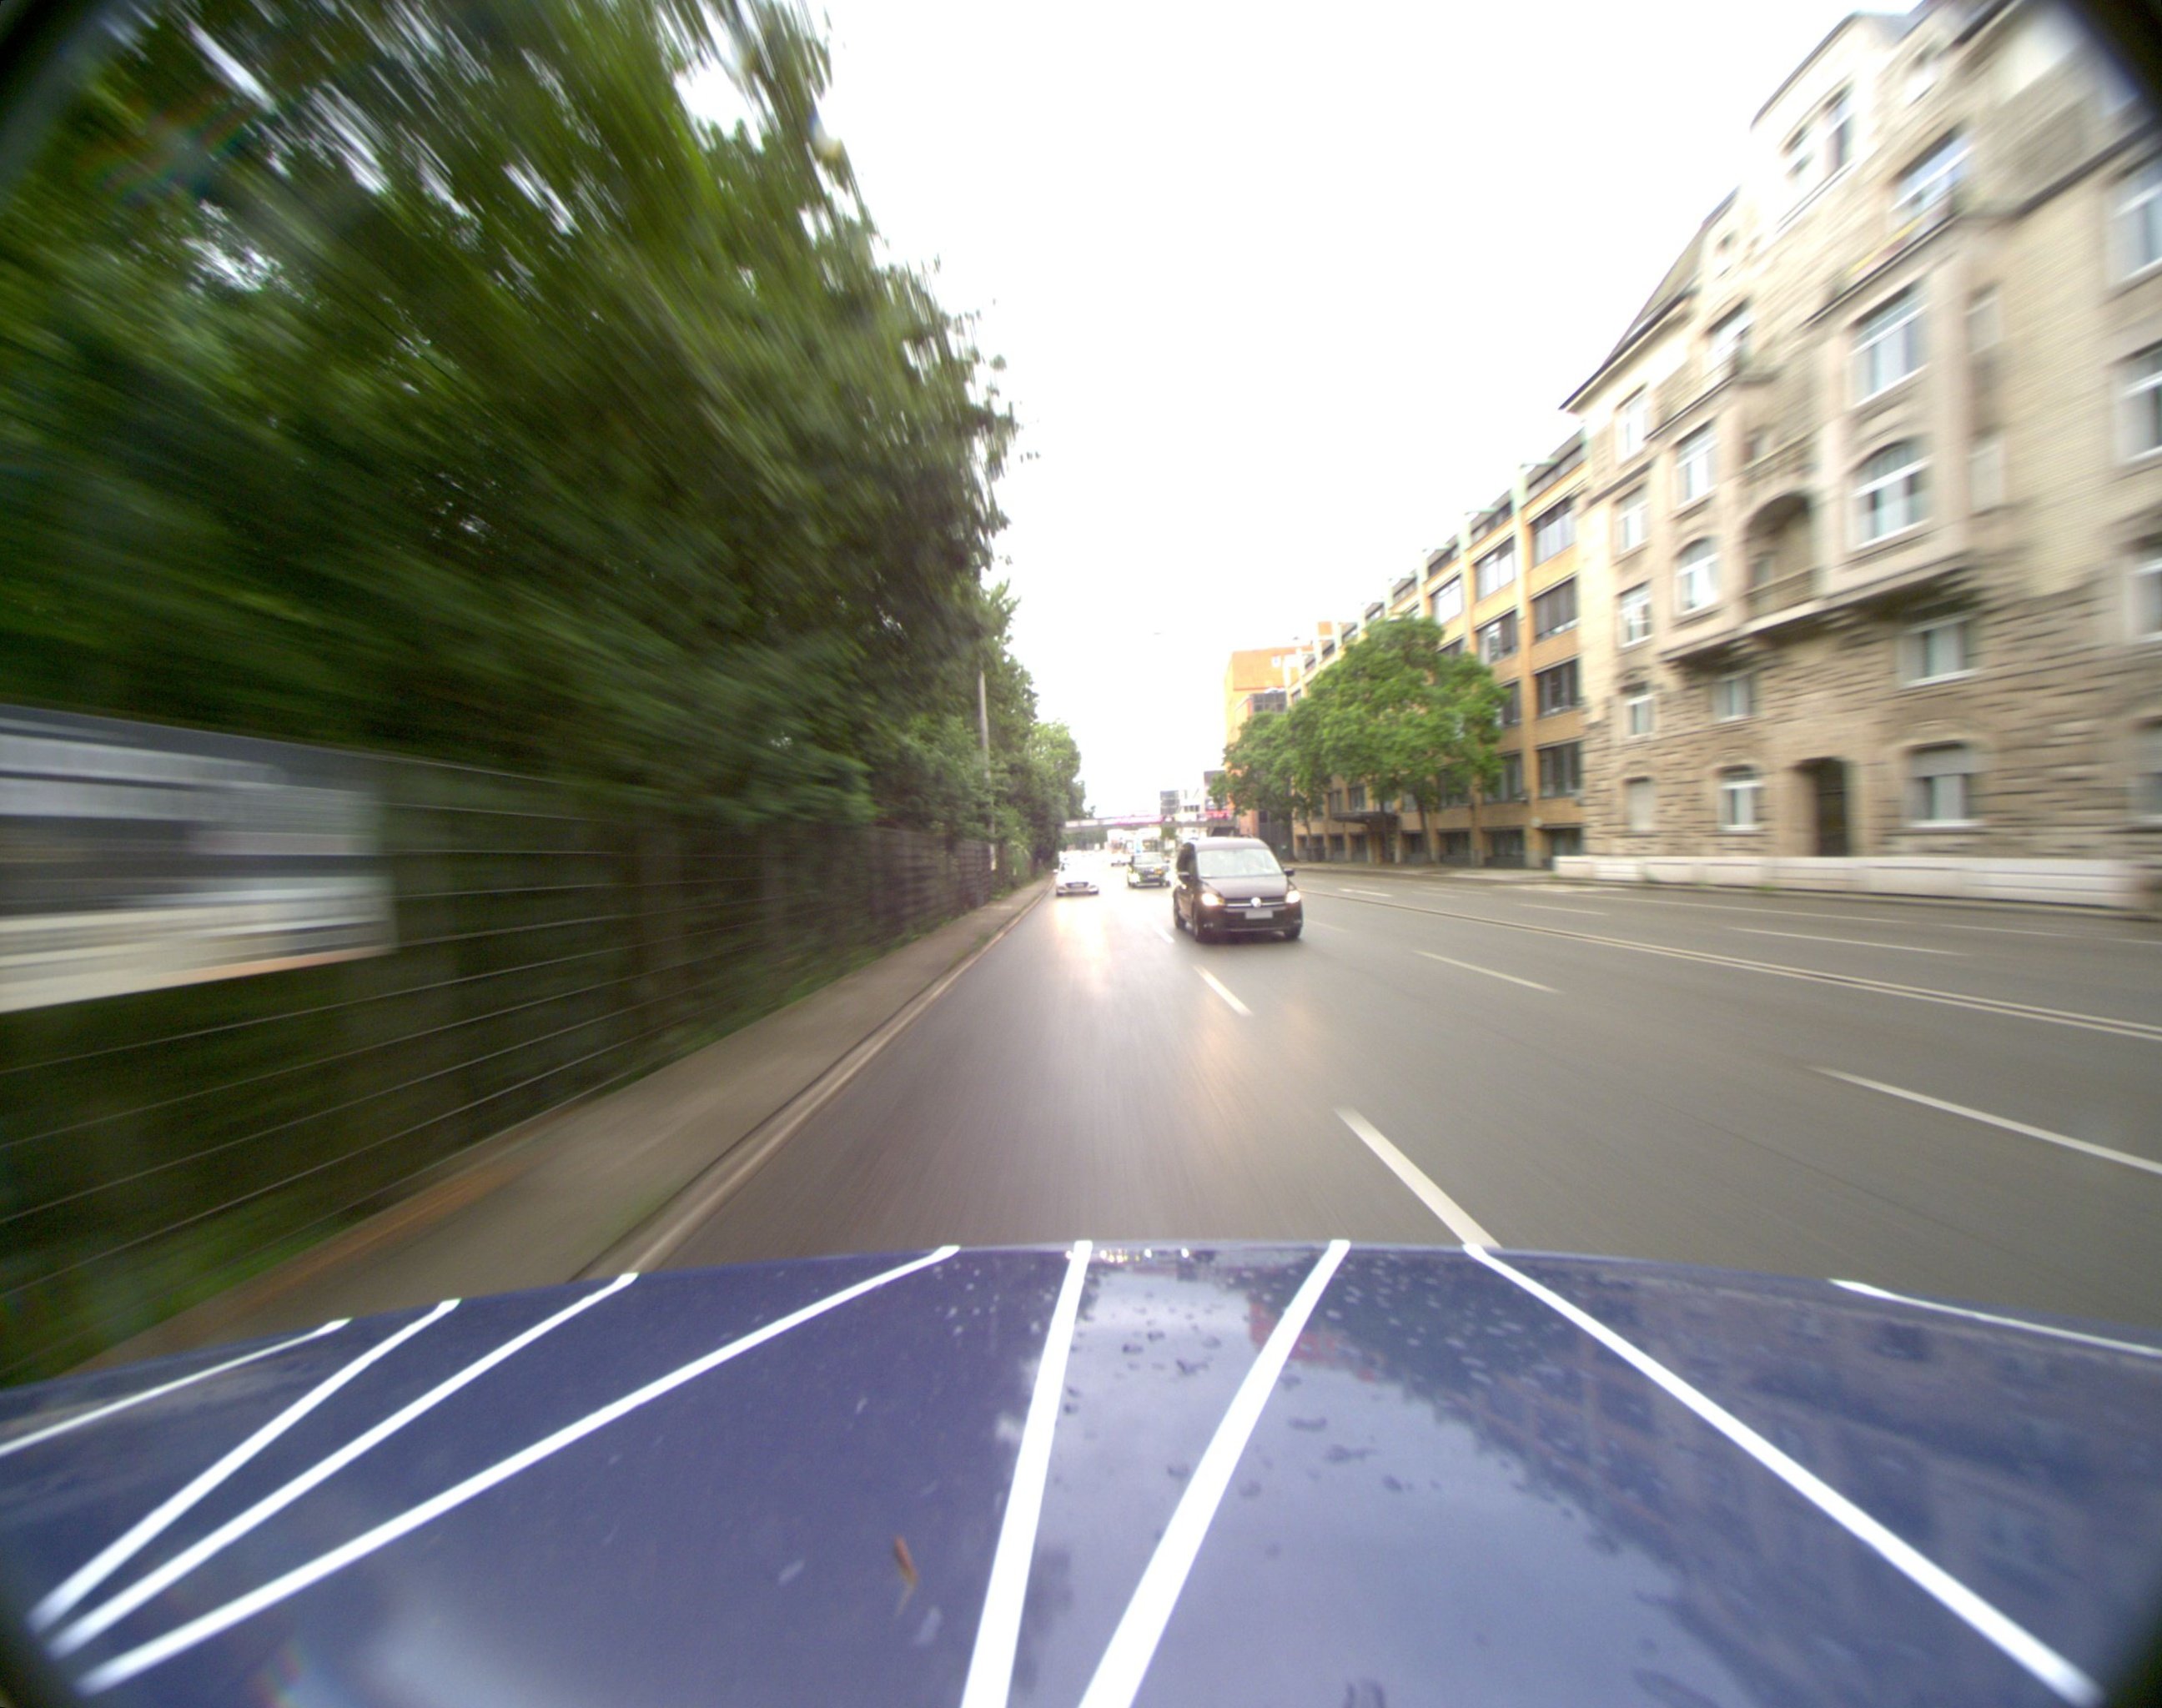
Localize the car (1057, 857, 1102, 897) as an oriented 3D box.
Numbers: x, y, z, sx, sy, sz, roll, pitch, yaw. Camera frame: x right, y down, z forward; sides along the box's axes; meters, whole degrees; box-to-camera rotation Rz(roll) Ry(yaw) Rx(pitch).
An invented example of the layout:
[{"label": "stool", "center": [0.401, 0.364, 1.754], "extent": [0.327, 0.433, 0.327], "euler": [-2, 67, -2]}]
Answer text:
[{"label": "car", "center": [-0.099, 0.922, 32.231], "extent": [1.731, 1.431, 3.999], "euler": [-3, 1, -1]}]

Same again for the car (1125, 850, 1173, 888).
[{"label": "car", "center": [3.146, 0.647, 35.784], "extent": [1.731, 1.604, 3.999], "euler": [-3, 1, -1]}]

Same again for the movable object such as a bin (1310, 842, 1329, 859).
[{"label": "movable object such as a bin", "center": [20.422, -0.283, 65.084], "extent": [1.071, 1.428, 1.372], "euler": [-4, 0, -5]}]

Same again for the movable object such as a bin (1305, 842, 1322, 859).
[{"label": "movable object such as a bin", "center": [20.327, -0.272, 66.435], "extent": [0.976, 1.428, 1.313], "euler": [-4, 0, -5]}]

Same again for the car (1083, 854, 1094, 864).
[{"label": "car", "center": [1.457, 0.898, 149.848], "extent": [1.878, 1.762, 3.999], "euler": [-4, 1, 0]}]

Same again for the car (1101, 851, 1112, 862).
[{"label": "car", "center": [4.609, 0.466, 137.614], "extent": [1.878, 1.762, 3.999], "euler": [-4, 1, 0]}]

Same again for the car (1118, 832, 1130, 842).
[{"label": "car", "center": [7.341, -2.938, 129.170], "extent": [1.823, 1.602, 4.000], "euler": [-4, 1, 5]}]

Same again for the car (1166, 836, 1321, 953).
[{"label": "car", "center": [2.757, 0.629, 13.819], "extent": [1.842, 1.780, 3.999], "euler": [-1, 0, -2]}]

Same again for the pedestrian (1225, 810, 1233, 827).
[{"label": "pedestrian", "center": [20.097, -4.845, 103.331], "extent": [0.833, 2.242, 0.738], "euler": [-2, 1, -6]}]

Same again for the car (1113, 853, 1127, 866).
[{"label": "car", "center": [5.107, 0.710, 99.093], "extent": [1.730, 1.502, 3.732], "euler": [-3, 1, 4]}]
